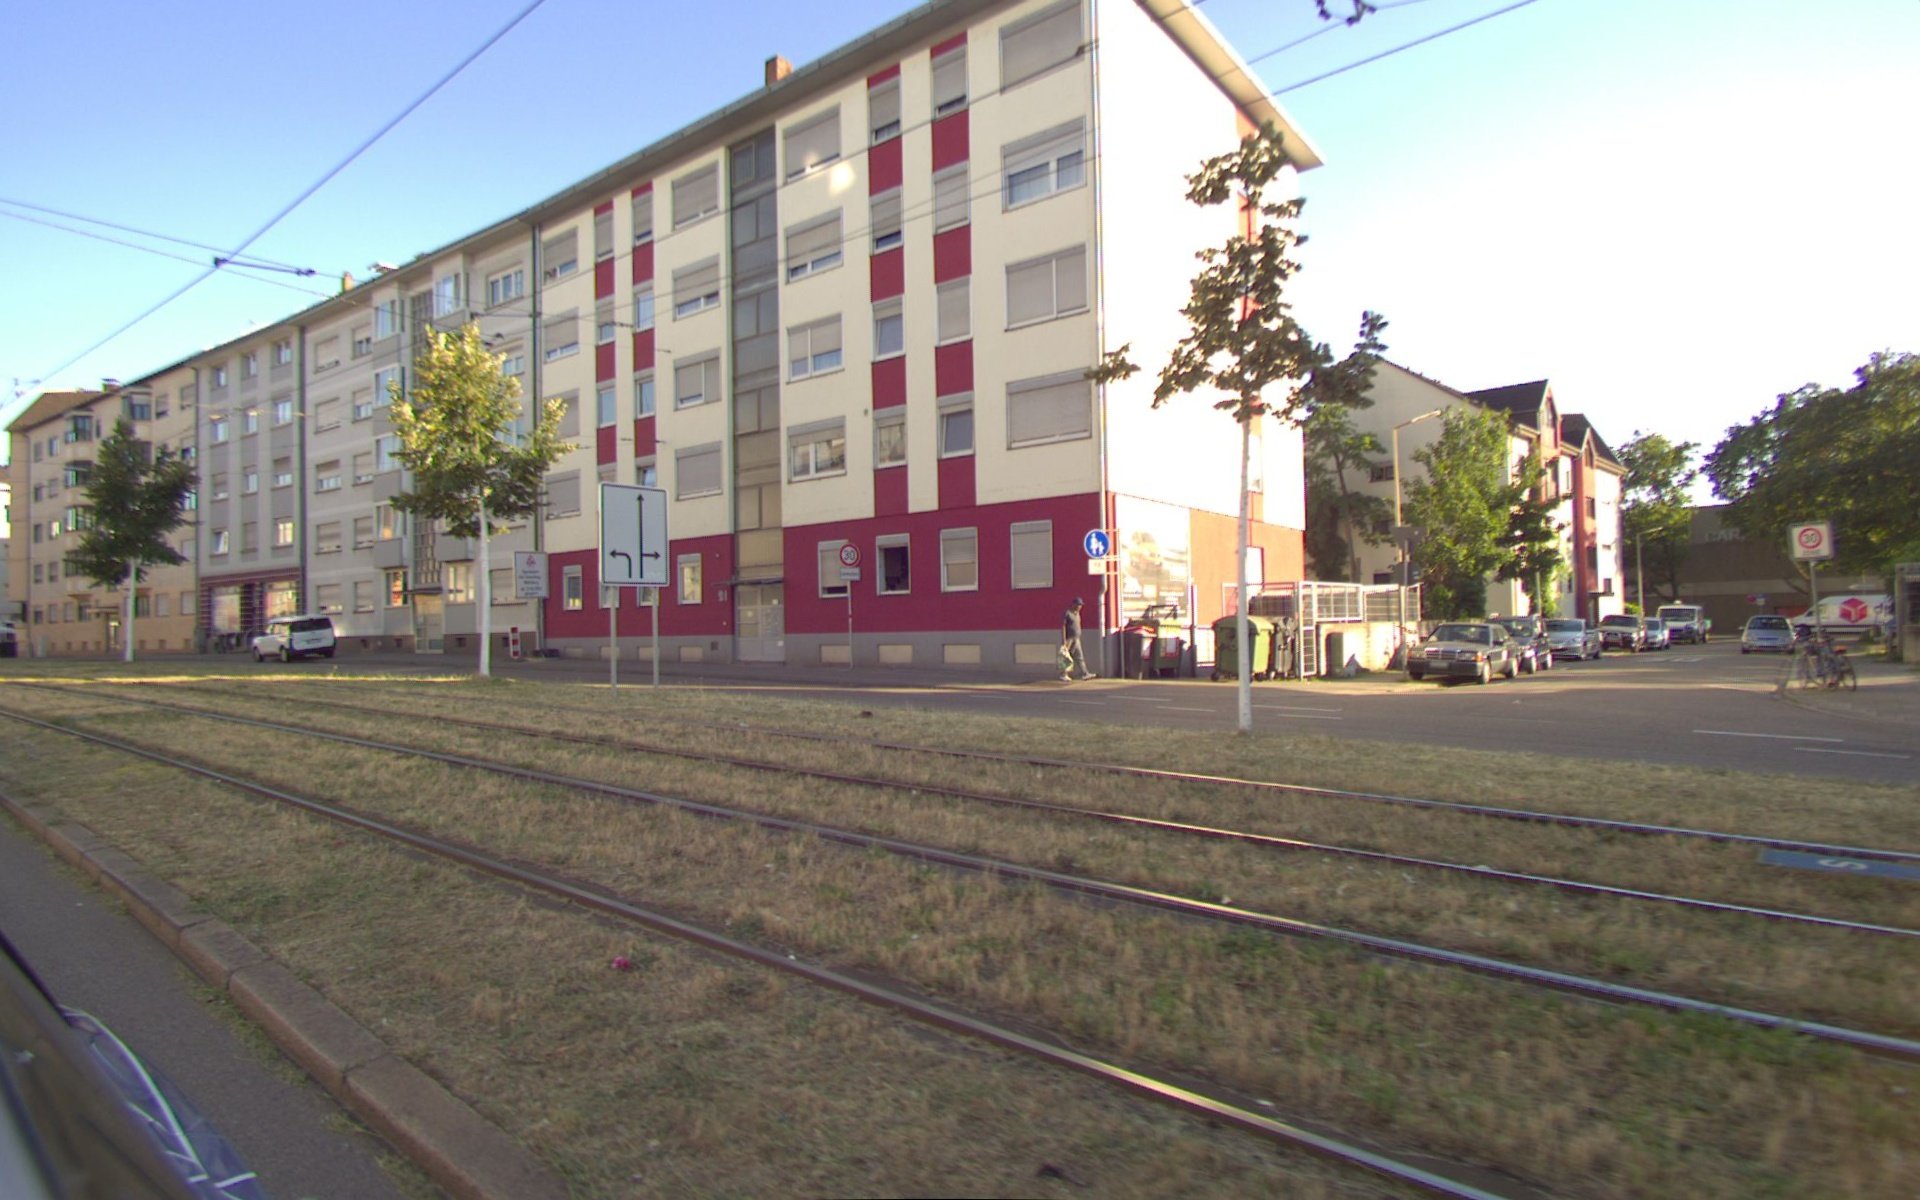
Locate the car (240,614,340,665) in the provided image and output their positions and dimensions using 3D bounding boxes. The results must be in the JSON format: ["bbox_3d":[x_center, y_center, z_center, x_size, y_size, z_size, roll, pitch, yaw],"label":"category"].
[{"bbox_3d":[-27.635,1.599,41.696,4.411,1.842,1.851,-1,4,35],"label":"car"}]

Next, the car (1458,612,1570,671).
[{"bbox_3d":[15.464,1.101,28.175,1.898,1.519,3.945,-2,-1,41],"label":"car"}]

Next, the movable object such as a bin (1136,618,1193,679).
[{"bbox_3d":[4.563,1.067,22.578,0.805,1.296,1.147,-2,-1,38],"label":"movable object such as a bin"}]

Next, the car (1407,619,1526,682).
[{"bbox_3d":[12.058,1.144,23.968,1.700,1.303,3.823,-2,-1,39],"label":"car"}]

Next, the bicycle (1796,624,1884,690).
[{"bbox_3d":[15.658,0.993,18.062,0.600,1.084,1.944,-4,-3,25],"label":"bicycle"}]

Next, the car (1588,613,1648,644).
[{"bbox_3d":[30.292,1.283,46.586,1.702,1.370,3.790,-2,-2,42],"label":"car"}]

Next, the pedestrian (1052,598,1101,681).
[{"bbox_3d":[2.445,0.816,21.241,0.790,1.702,0.608,-2,-1,37],"label":"pedestrian"}]

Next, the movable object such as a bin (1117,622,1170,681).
[{"bbox_3d":[3.941,1.088,21.728,0.805,1.235,0.858,-2,-1,38],"label":"movable object such as a bin"}]

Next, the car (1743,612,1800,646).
[{"bbox_3d":[33.183,1.164,41.349,1.643,1.342,3.945,-2,-1,41],"label":"car"}]

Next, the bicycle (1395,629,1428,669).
[{"bbox_3d":[12.457,1.333,27.920,0.457,1.068,1.919,-1,-2,35],"label":"bicycle"}]

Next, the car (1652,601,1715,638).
[{"bbox_3d":[41.753,1.113,58.350,5.624,1.993,1.961,0,-2,-44],"label":"car"}]

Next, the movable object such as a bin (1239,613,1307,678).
[{"bbox_3d":[7.143,1.023,23.059,1.107,1.426,1.205,-2,-1,38],"label":"movable object such as a bin"}]

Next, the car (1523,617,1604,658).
[{"bbox_3d":[20.818,1.249,34.870,1.702,1.314,3.513,-2,-2,42],"label":"car"}]

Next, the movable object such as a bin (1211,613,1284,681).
[{"bbox_3d":[6.232,1.001,21.953,1.137,1.426,1.205,-1,-1,38],"label":"movable object such as a bin"}]

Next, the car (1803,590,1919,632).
[{"bbox_3d":[57.361,0.727,63.663,2.278,2.572,6.236,0,-2,-33],"label":"car"}]

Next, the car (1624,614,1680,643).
[{"bbox_3d":[34.332,1.393,50.183,1.702,1.370,3.788,-2,-2,44],"label":"car"}]
